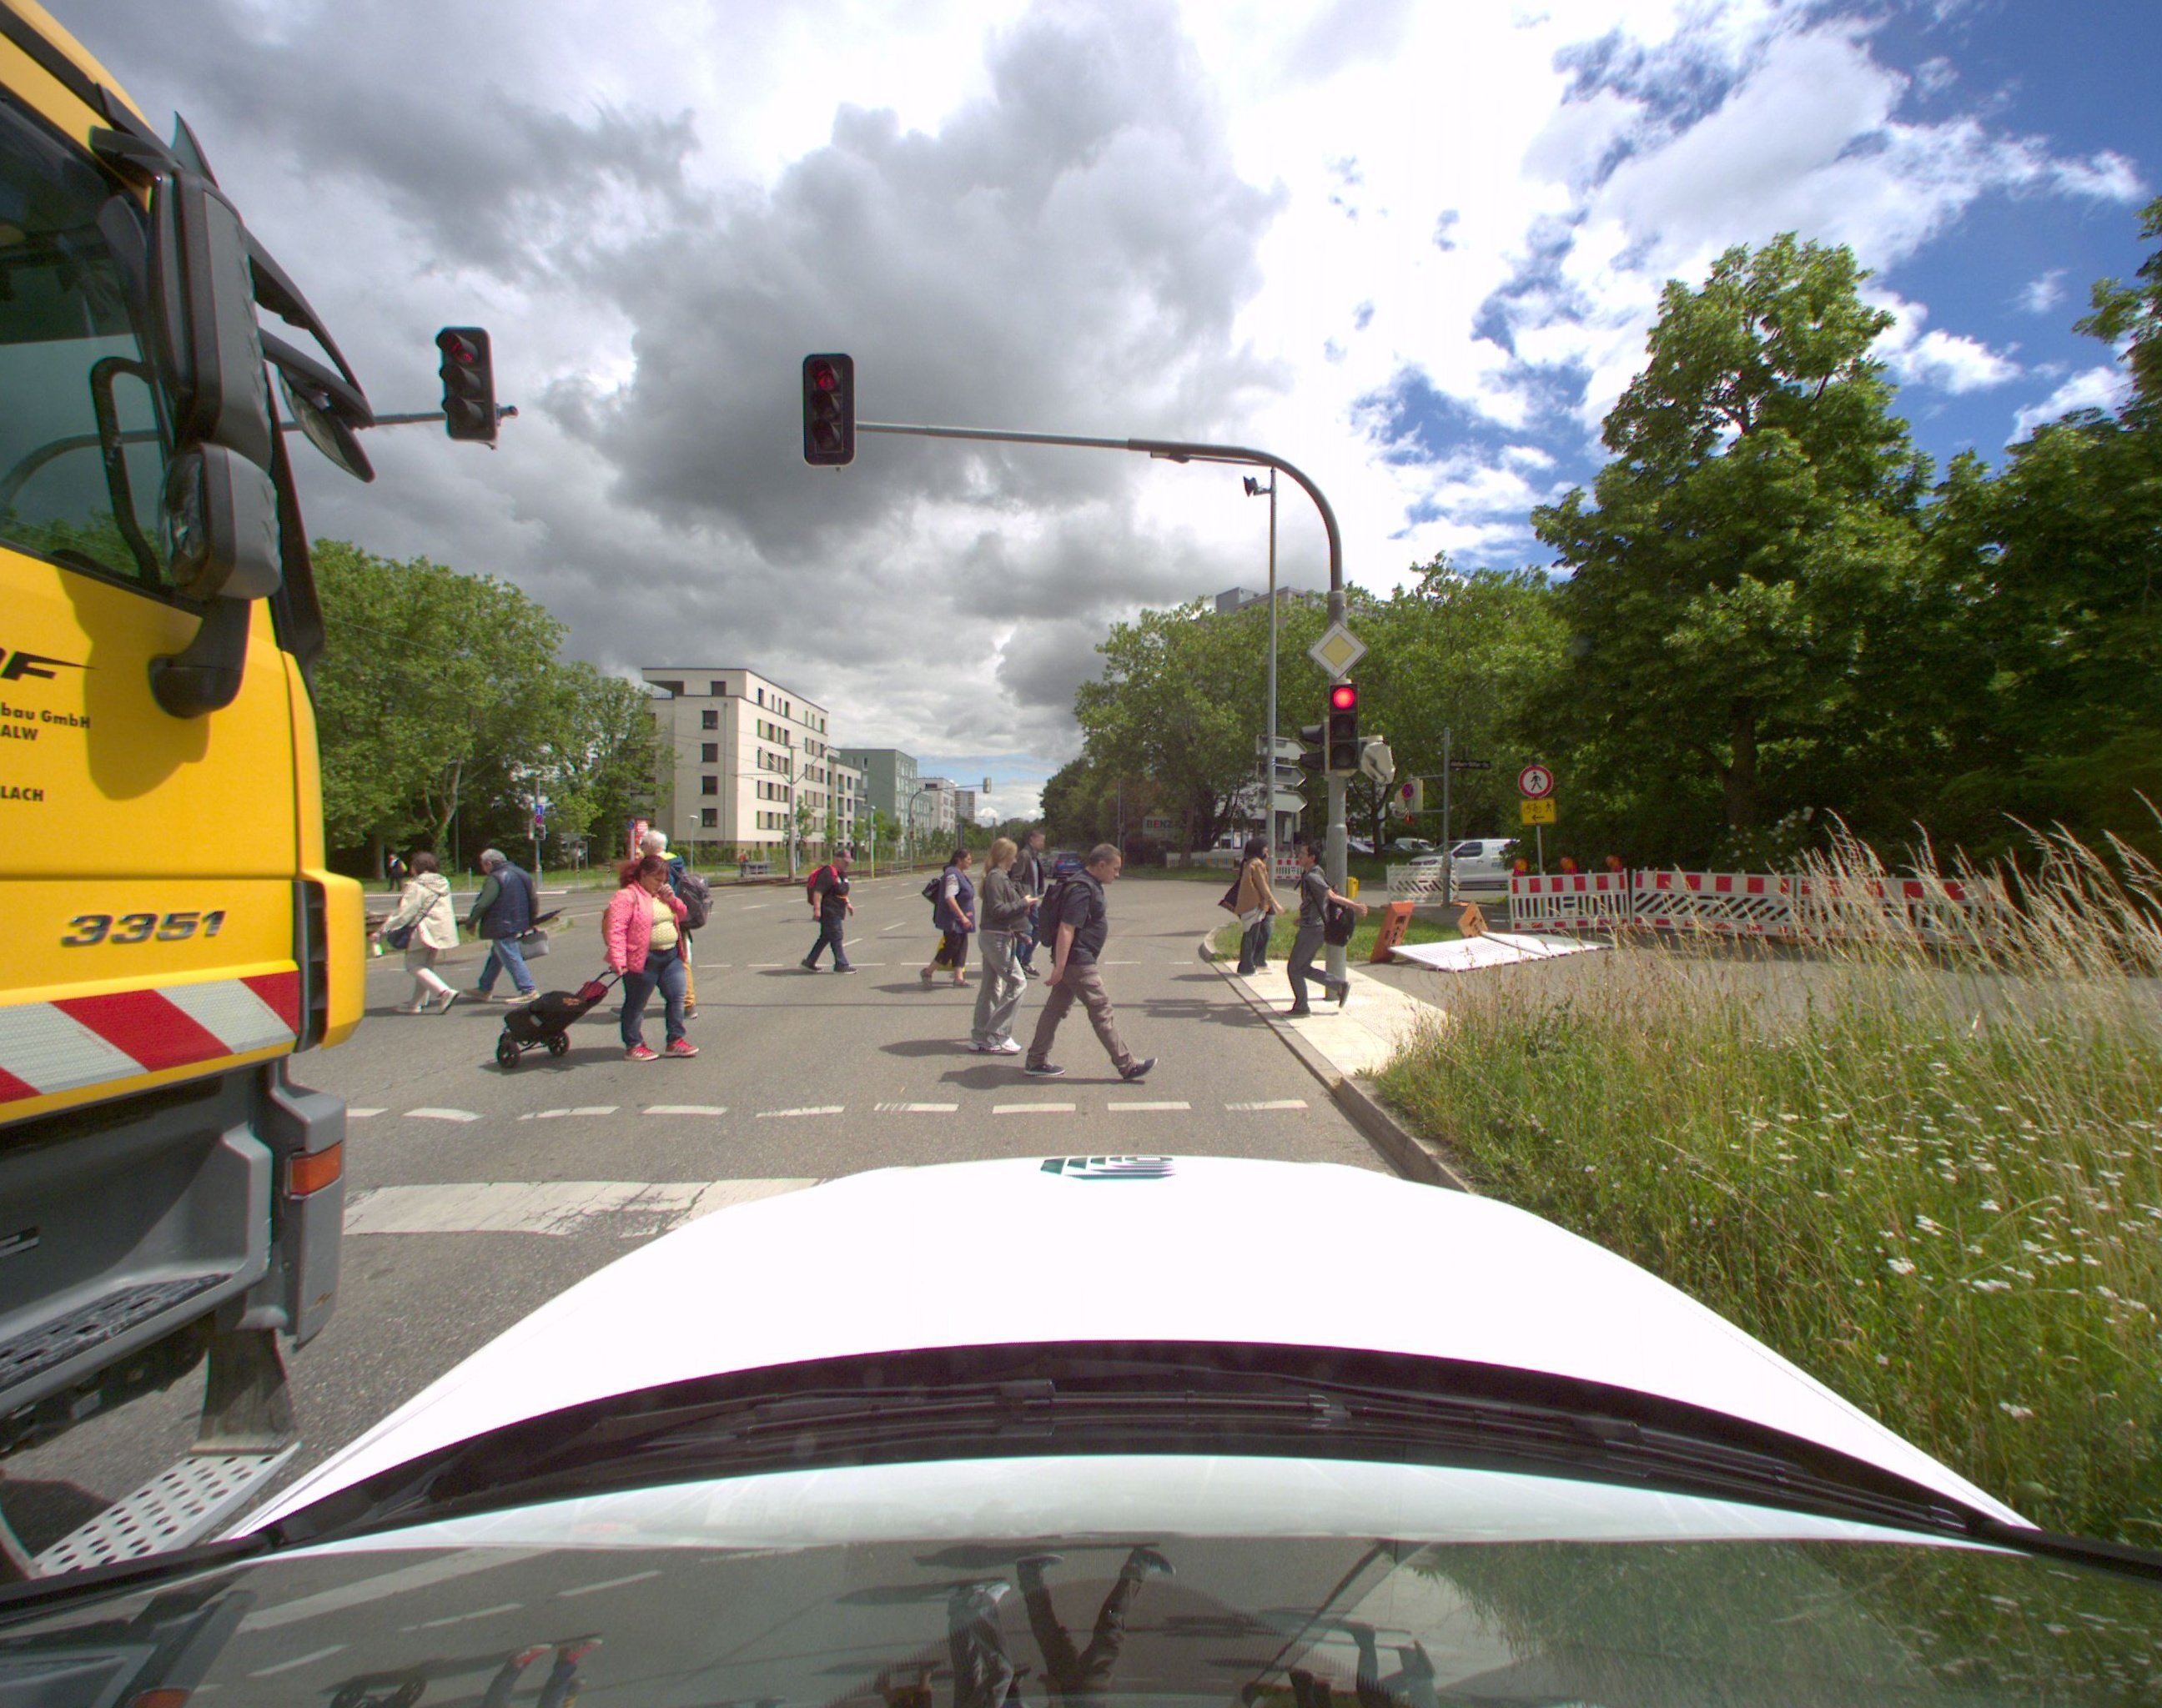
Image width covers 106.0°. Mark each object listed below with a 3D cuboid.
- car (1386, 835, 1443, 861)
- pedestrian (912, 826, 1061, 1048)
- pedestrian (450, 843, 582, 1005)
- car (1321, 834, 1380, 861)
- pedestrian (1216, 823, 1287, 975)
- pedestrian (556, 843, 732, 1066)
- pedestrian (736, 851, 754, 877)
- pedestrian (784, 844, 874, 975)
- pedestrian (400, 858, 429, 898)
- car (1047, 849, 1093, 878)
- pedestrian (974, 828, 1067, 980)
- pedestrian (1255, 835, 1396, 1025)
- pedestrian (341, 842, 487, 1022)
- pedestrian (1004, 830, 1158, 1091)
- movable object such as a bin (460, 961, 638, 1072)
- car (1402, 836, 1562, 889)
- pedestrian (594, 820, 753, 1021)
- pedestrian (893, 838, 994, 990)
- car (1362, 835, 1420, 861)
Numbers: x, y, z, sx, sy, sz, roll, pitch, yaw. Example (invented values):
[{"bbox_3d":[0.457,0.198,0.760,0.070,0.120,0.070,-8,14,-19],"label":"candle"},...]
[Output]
[{"bbox_3d":[27.314,-0.496,66.863,2.006,2.013,3.962,-1,0,-29],"label":"car"},{"bbox_3d":[-0.718,0.622,6.534,1.016,1.648,0.930,-1,0,3],"label":"pedestrian"},{"bbox_3d":[-5.964,0.705,8.649,0.867,1.634,0.764,-1,0,-6],"label":"pedestrian"},{"bbox_3d":[20.568,-0.485,62.249,2.006,2.013,3.962,-1,0,-29],"label":"car"},{"bbox_3d":[2.024,0.517,9.765,0.777,1.742,0.830,-1,0,8],"label":"pedestrian"},{"bbox_3d":[-3.222,0.703,6.077,0.877,1.554,0.747,-1,0,2],"label":"pedestrian"},{"bbox_3d":[-20.420,0.612,49.531,0.827,1.516,0.636,-1,0,1],"label":"pedestrian"},{"bbox_3d":[-3.202,0.674,10.429,0.891,1.596,0.907,-1,0,-4],"label":"pedestrian"},{"bbox_3d":[-28.775,1.032,35.171,0.930,1.676,1.088,-1,0,-40],"label":"pedestrian"},{"bbox_3d":[-0.653,0.469,44.363,1.981,1.486,4.479,-1,0,-7],"label":"car"},{"bbox_3d":[-0.721,0.588,10.043,0.998,1.773,0.930,-1,0,4],"label":"pedestrian"},{"bbox_3d":[2.119,0.623,7.168,0.944,1.552,0.842,-1,0,-5],"label":"pedestrian"},{"bbox_3d":[-6.424,0.712,7.895,0.822,1.640,0.731,-1,0,-10],"label":"pedestrian"},{"bbox_3d":[0.015,0.673,5.597,0.955,1.648,0.881,-1,0,2],"label":"pedestrian"},{"bbox_3d":[-3.907,1.179,6.045,0.792,0.662,0.778,-1,0,2],"label":"movable object such as a bin"},{"bbox_3d":[14.916,0.297,30.454,5.063,1.874,1.947,-1,0,-2],"label":"car"},{"bbox_3d":[-3.807,0.585,7.699,1.006,1.774,0.948,-1,0,0],"label":"pedestrian"},{"bbox_3d":[-1.511,0.639,9.115,0.908,1.607,0.930,-1,0,4],"label":"pedestrian"},{"bbox_3d":[24.599,-0.492,64.730,2.006,2.013,3.962,-1,0,-29],"label":"car"}]
